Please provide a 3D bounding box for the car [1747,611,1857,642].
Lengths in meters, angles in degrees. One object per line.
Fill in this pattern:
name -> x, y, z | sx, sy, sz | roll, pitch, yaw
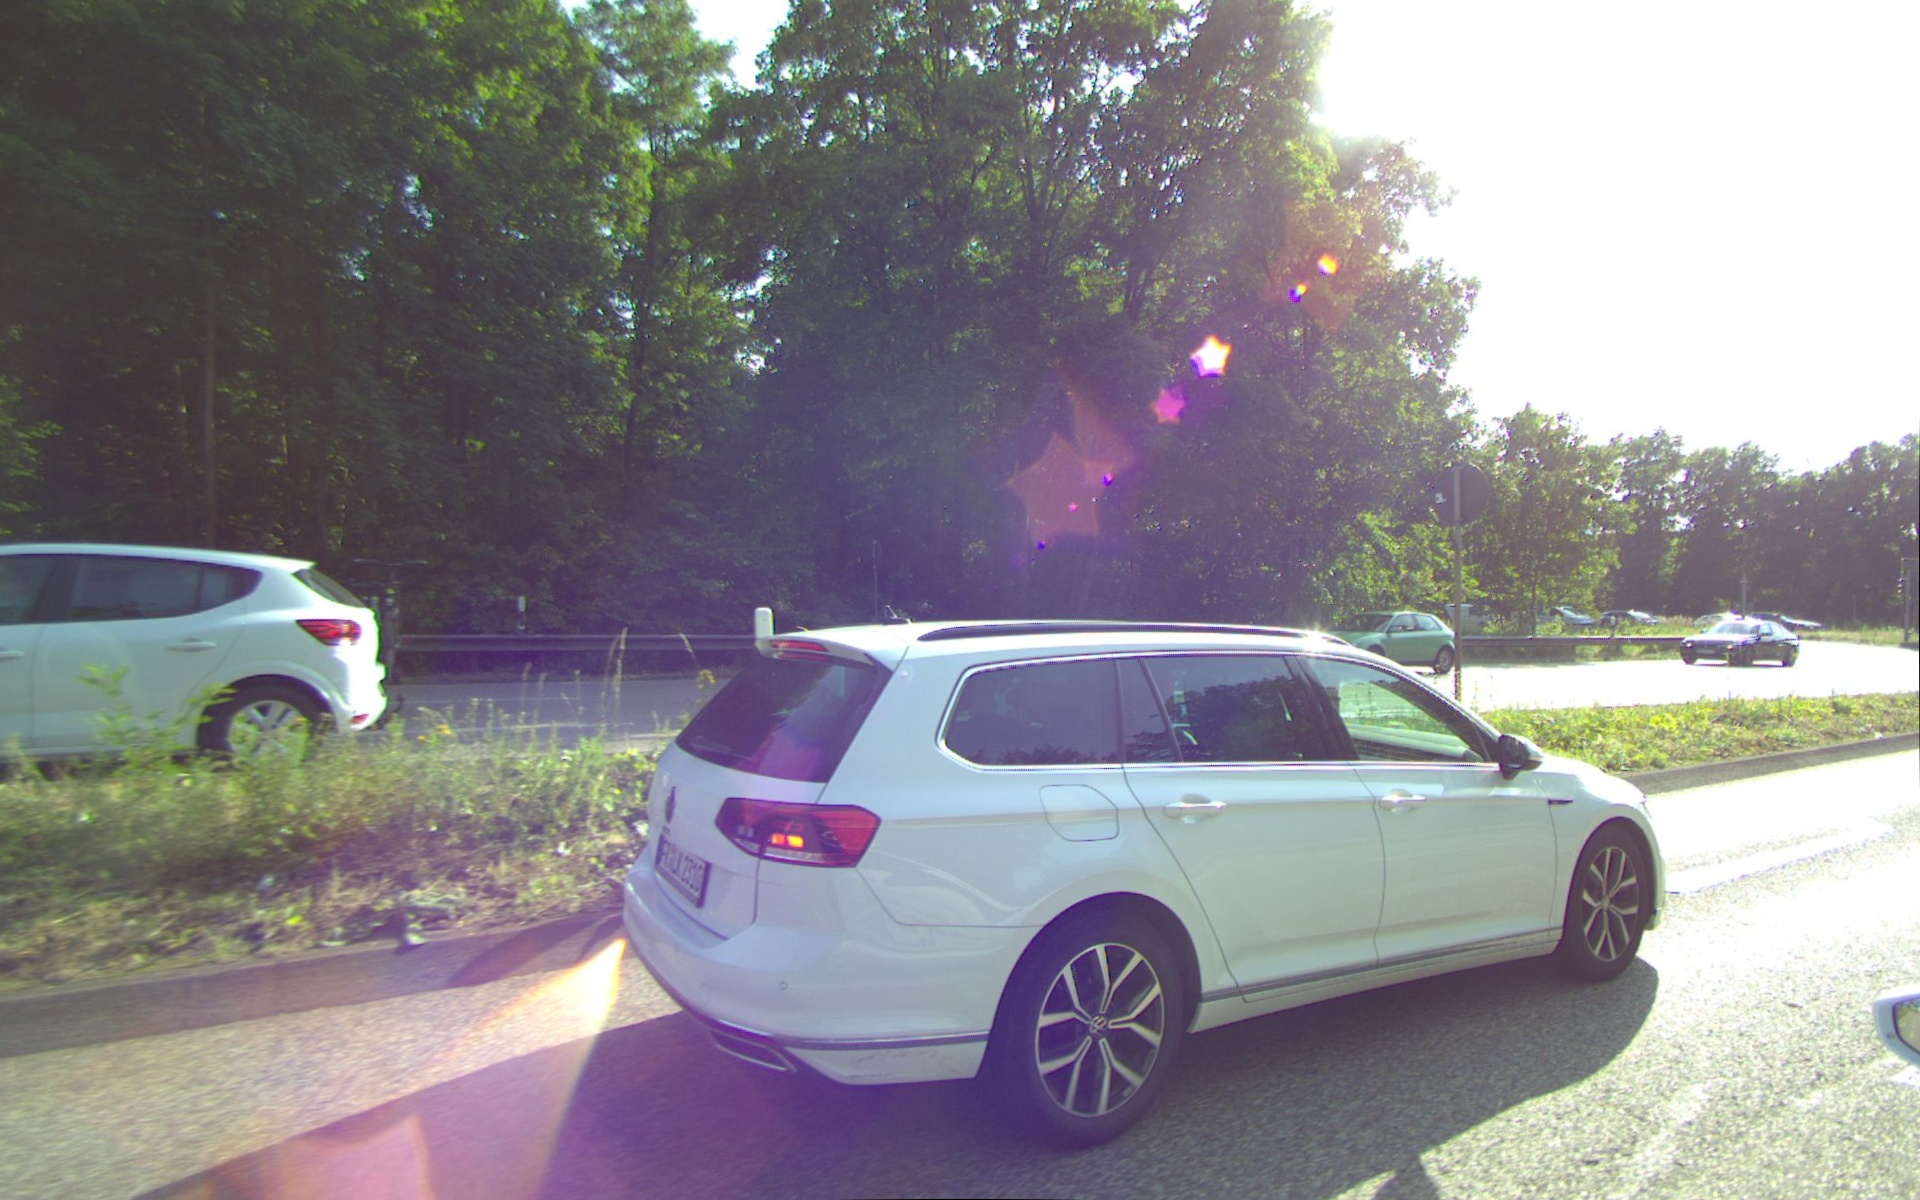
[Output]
car -> 48.443, 1.479, 57.886 | 1.971, 1.510, 4.398 | 1, 2, -22

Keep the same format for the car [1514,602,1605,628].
car -> 41.834, 1.008, 70.237 | 2.412, 1.510, 5.042 | 1, 2, -23

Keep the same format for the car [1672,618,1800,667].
car -> 25.103, 1.322, 32.451 | 4.701, 1.425, 1.778 | 1, 0, -32

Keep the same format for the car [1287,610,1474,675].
car -> 9.819, 0.943, 23.374 | 4.322, 1.396, 1.731 | 1, -1, -29

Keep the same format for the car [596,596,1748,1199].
car -> 1.135, 0.812, 4.252 | 4.778, 1.542, 1.860 | 1, 1, -31

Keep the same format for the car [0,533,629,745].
car -> -6.689, 0.352, 10.063 | 6.149, 1.731, 2.094 | 1, -1, -29

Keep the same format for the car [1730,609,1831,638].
car -> 49.995, 1.385, 61.293 | 1.978, 1.510, 4.381 | 1, 2, -33

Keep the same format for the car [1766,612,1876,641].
car -> 52.977, 1.604, 61.874 | 2.145, 1.510, 4.681 | 1, 2, -33

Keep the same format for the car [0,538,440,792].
car -> -5.842, 0.373, 6.500 | 4.362, 1.436, 1.859 | 1, -1, -29

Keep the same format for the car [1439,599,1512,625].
car -> 39.348, 0.896, 76.733 | 2.160, 1.750, 4.626 | 1, 2, -23
